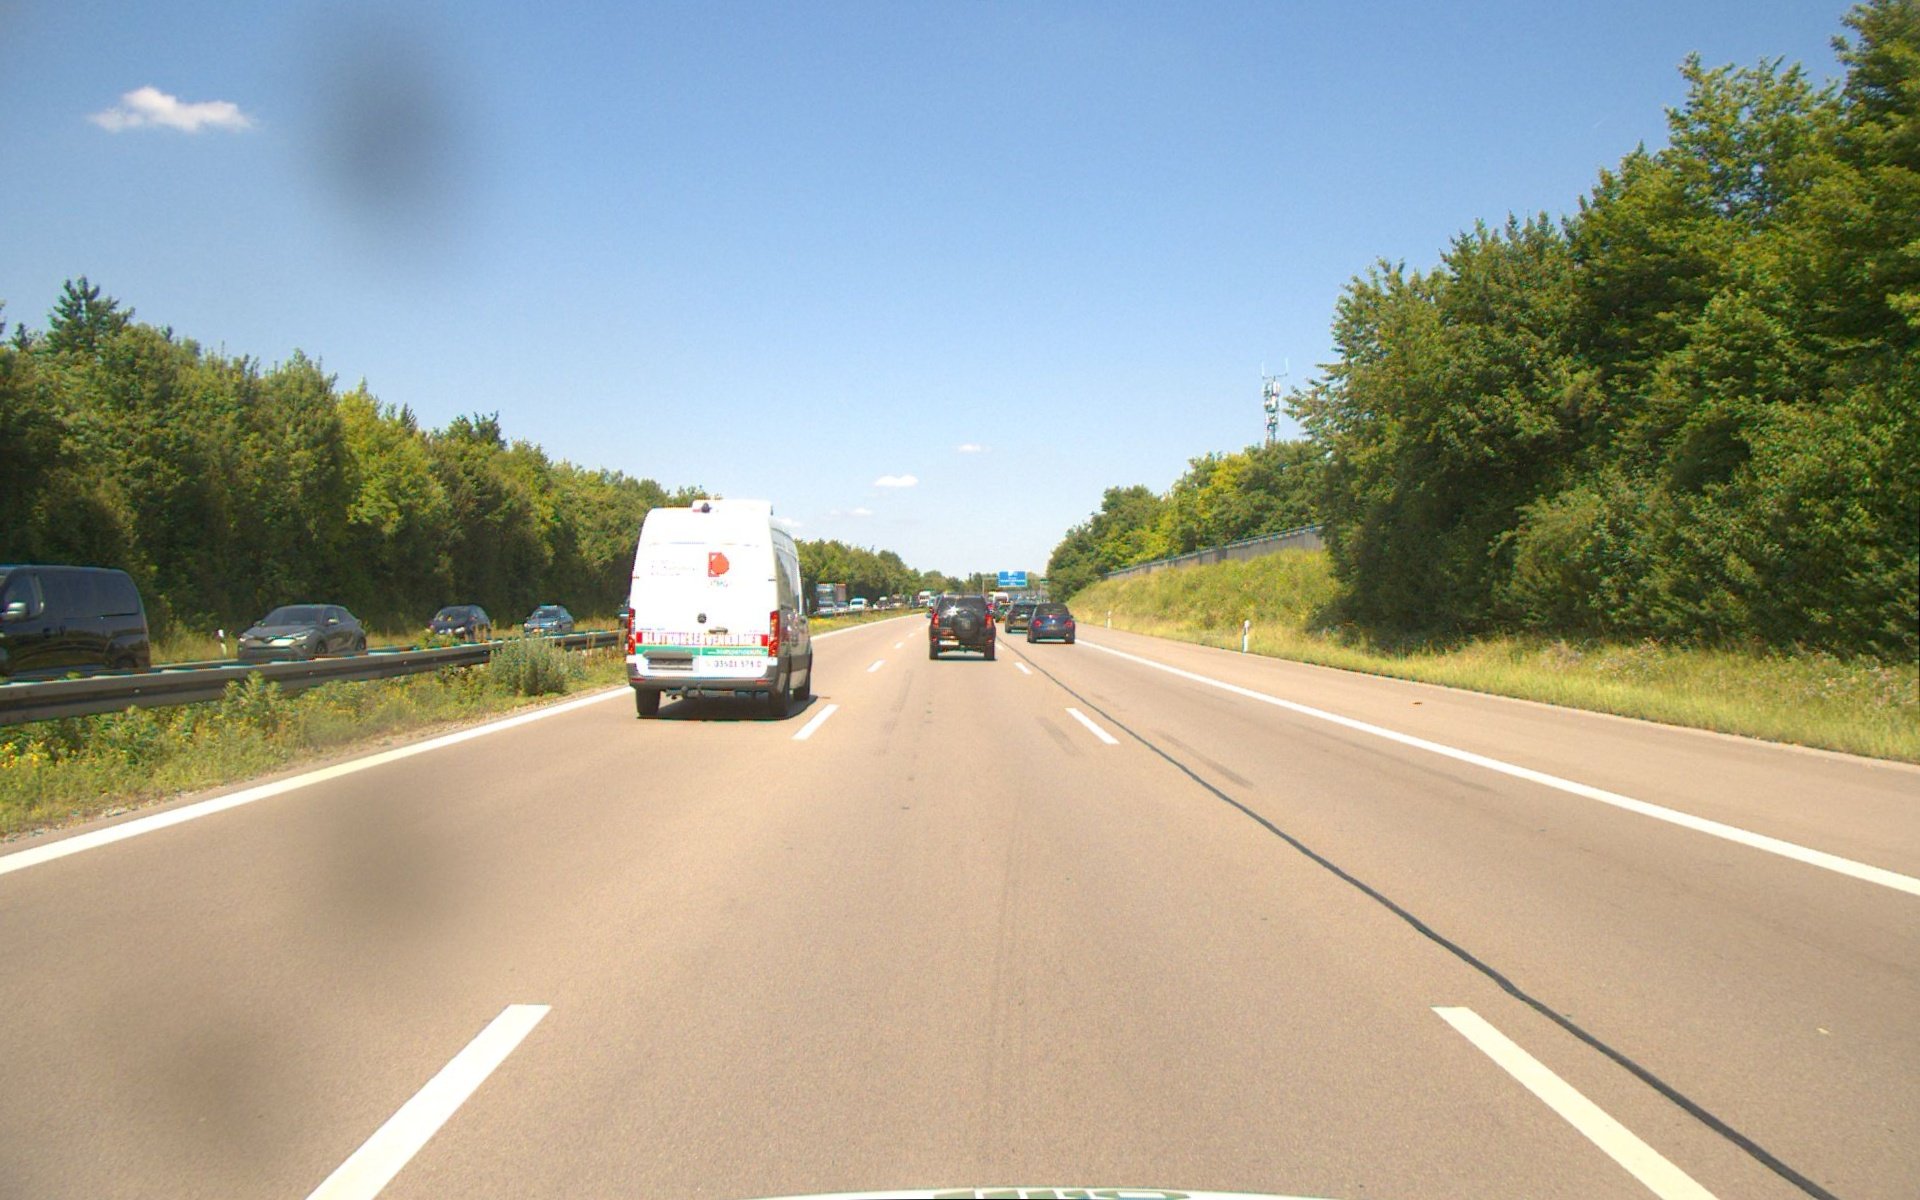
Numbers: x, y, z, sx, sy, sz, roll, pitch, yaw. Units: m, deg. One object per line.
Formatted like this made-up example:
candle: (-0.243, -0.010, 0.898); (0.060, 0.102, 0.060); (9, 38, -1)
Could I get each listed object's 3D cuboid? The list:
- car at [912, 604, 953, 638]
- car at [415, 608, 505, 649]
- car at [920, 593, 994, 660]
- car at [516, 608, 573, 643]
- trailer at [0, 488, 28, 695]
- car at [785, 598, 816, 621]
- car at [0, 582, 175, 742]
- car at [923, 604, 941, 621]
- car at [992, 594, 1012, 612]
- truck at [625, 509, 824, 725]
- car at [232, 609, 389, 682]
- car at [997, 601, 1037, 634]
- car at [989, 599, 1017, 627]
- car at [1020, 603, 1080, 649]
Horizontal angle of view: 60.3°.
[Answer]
car: (-1.466, 1.117, 89.856); (1.952, 1.736, 4.337); (-1, 0, 2)
car: (-19.326, 1.072, 64.112); (1.952, 1.506, 4.931); (-1, 0, 0)
car: (-0.113, 0.713, 44.252); (1.868, 1.694, 3.999); (0, -1, -1)
car: (-19.886, 1.229, 79.316); (1.675, 1.657, 4.000); (0, -1, 1)
trailer: (-19.487, -0.107, 27.535); (2.711, 3.950, 9.453); (-3, 0, -2)
car: (-12.091, 0.711, 125.670); (1.953, 1.695, 4.473); (-1, 0, -1)
car: (-11.911, 0.721, 20.666); (1.868, 1.820, 5.058); (-1, 0, -1)
car: (-3.523, 1.587, 207.170); (1.952, 2.049, 4.951); (-1, 0, 3)
car: (4.909, 0.342, 192.190); (1.954, 2.049, 4.765); (-1, 0, -3)
truck: (-3.138, 0.201, 23.489); (1.953, 2.587, 6.690); (1, 0, -1)
car: (-15.343, 1.030, 39.360); (1.848, 1.617, 4.632); (-1, 0, 1)
car: (2.873, 0.895, 84.080); (1.805, 1.640, 3.998); (0, -1, -2)
car: (3.281, 0.994, 126.069); (1.953, 2.049, 3.999); (0, -1, -1)
car: (3.425, 0.992, 63.708); (1.953, 1.713, 3.998); (0, -1, -2)
